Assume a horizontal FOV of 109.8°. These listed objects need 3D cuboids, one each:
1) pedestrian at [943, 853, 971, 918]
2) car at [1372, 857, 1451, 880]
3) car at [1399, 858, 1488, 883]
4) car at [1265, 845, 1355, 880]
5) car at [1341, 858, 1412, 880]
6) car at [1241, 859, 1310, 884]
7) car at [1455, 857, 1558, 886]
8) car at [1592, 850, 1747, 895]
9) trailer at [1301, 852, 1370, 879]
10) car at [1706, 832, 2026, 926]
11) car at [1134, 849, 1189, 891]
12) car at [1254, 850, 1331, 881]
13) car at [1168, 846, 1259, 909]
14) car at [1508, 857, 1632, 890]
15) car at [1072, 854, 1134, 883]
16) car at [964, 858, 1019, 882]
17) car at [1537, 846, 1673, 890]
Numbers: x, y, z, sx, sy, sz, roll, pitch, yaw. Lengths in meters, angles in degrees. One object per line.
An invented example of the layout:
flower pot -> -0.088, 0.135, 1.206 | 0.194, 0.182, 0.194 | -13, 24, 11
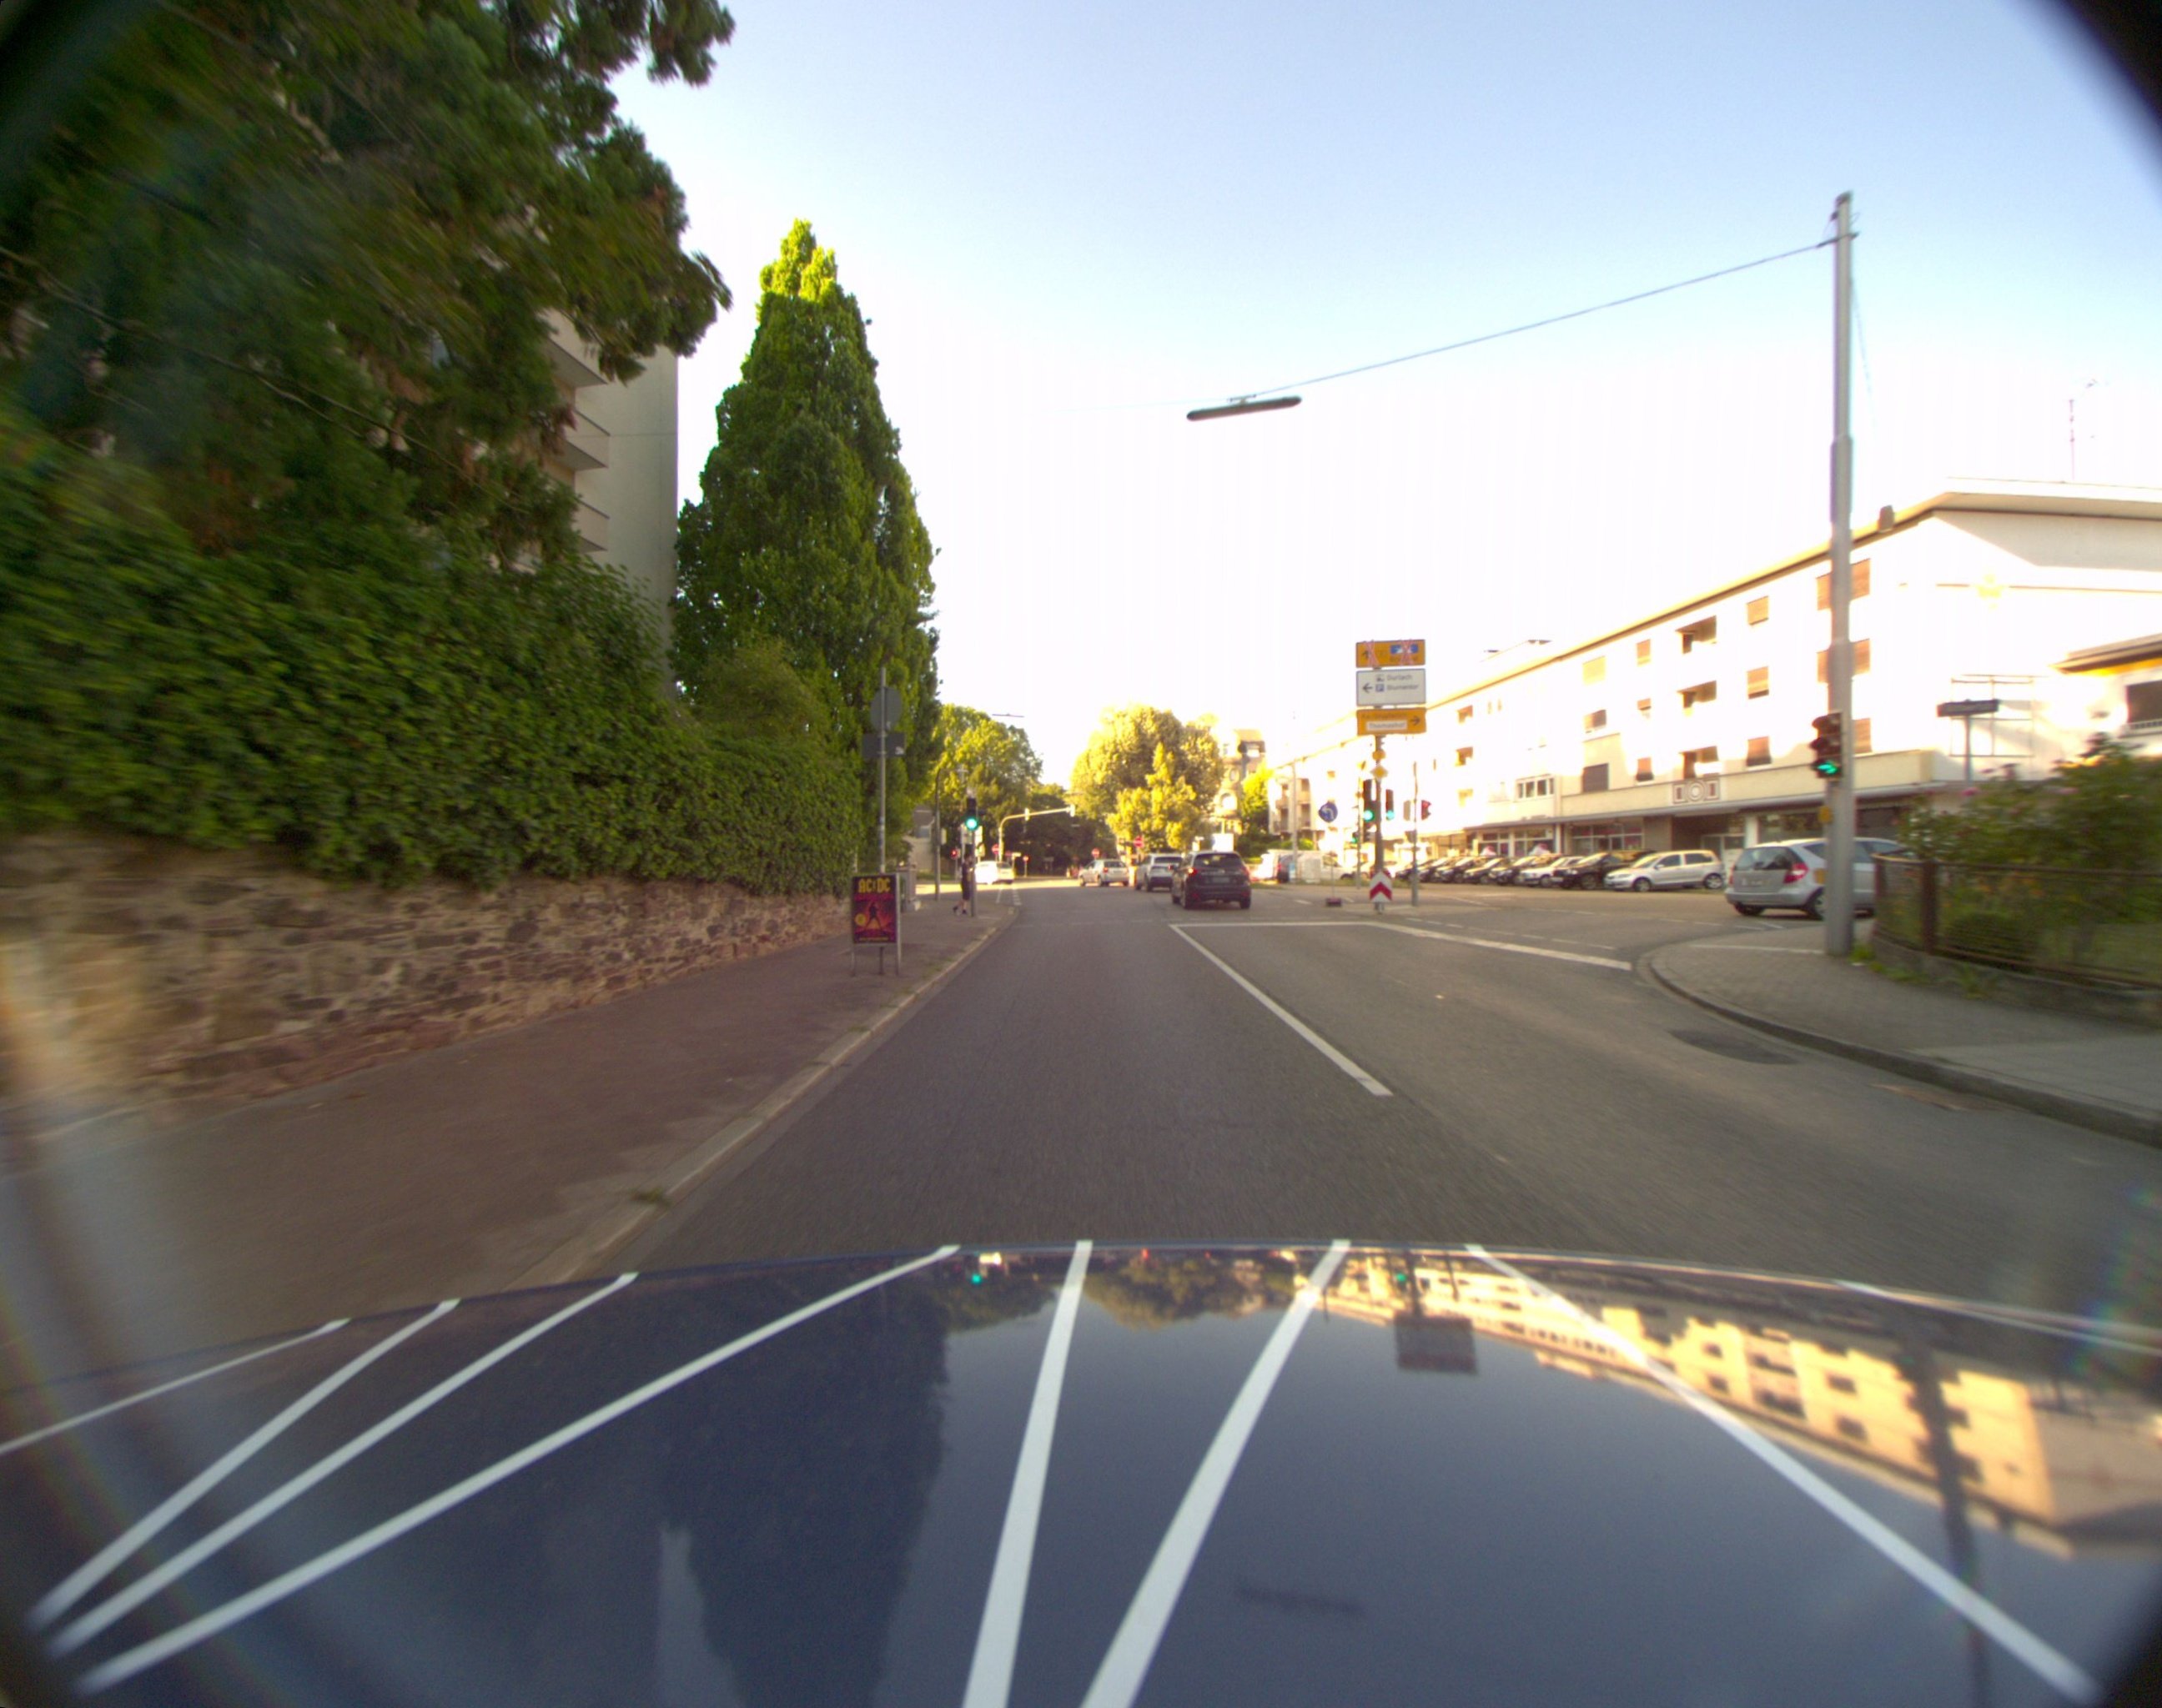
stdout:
pedestrian -> -3.268, 0.833, 20.096 | 0.604, 1.683, 0.612 | 1, 0, 0
car -> 21.857, 0.983, 50.411 | 4.324, 1.390, 2.000 | -1, -1, 0
car -> 21.746, 0.992, 45.696 | 4.324, 1.390, 2.000 | -1, -1, 0
car -> 13.683, 0.501, 45.545 | 4.681, 1.953, 2.117 | -1, -1, -5
car -> 21.208, 1.073, 54.660 | 4.324, 1.501, 2.000 | -1, -1, 0
car -> 12.997, 1.192, 51.026 | 4.002, 1.470, 2.000 | -2, -1, -4
car -> 22.486, 0.905, 40.316 | 4.324, 1.390, 2.000 | -1, -1, 0
car -> 22.904, 0.720, 29.748 | 4.320, 1.601, 2.002 | -2, -1, 11
trailer -> 14.091, 0.641, 42.110 | 3.263, 1.388, 1.574 | -1, -1, -5
car -> 15.369, 0.485, 15.083 | 4.280, 1.639, 1.960 | -1, -1, 1
car -> 3.386, 0.672, 32.777 | 1.780, 1.638, 4.534 | -1, -1, -1
car -> 13.448, 0.752, 48.508 | 4.324, 1.840, 2.000 | -1, -1, 0
car -> 3.767, 0.662, 22.333 | 1.958, 1.638, 4.284 | -1, -1, 1
car -> 22.404, 0.880, 34.979 | 4.321, 1.390, 2.002 | -2, -1, 11
car -> 1.154, 0.815, 41.919 | 1.783, 1.471, 4.089 | -1, -1, -24
car -> -6.116, 1.101, 51.701 | 1.785, 1.533, 3.990 | -1, -1, -39
car -> 22.229, 0.607, 32.411 | 4.320, 1.704, 2.002 | -2, -1, 11
